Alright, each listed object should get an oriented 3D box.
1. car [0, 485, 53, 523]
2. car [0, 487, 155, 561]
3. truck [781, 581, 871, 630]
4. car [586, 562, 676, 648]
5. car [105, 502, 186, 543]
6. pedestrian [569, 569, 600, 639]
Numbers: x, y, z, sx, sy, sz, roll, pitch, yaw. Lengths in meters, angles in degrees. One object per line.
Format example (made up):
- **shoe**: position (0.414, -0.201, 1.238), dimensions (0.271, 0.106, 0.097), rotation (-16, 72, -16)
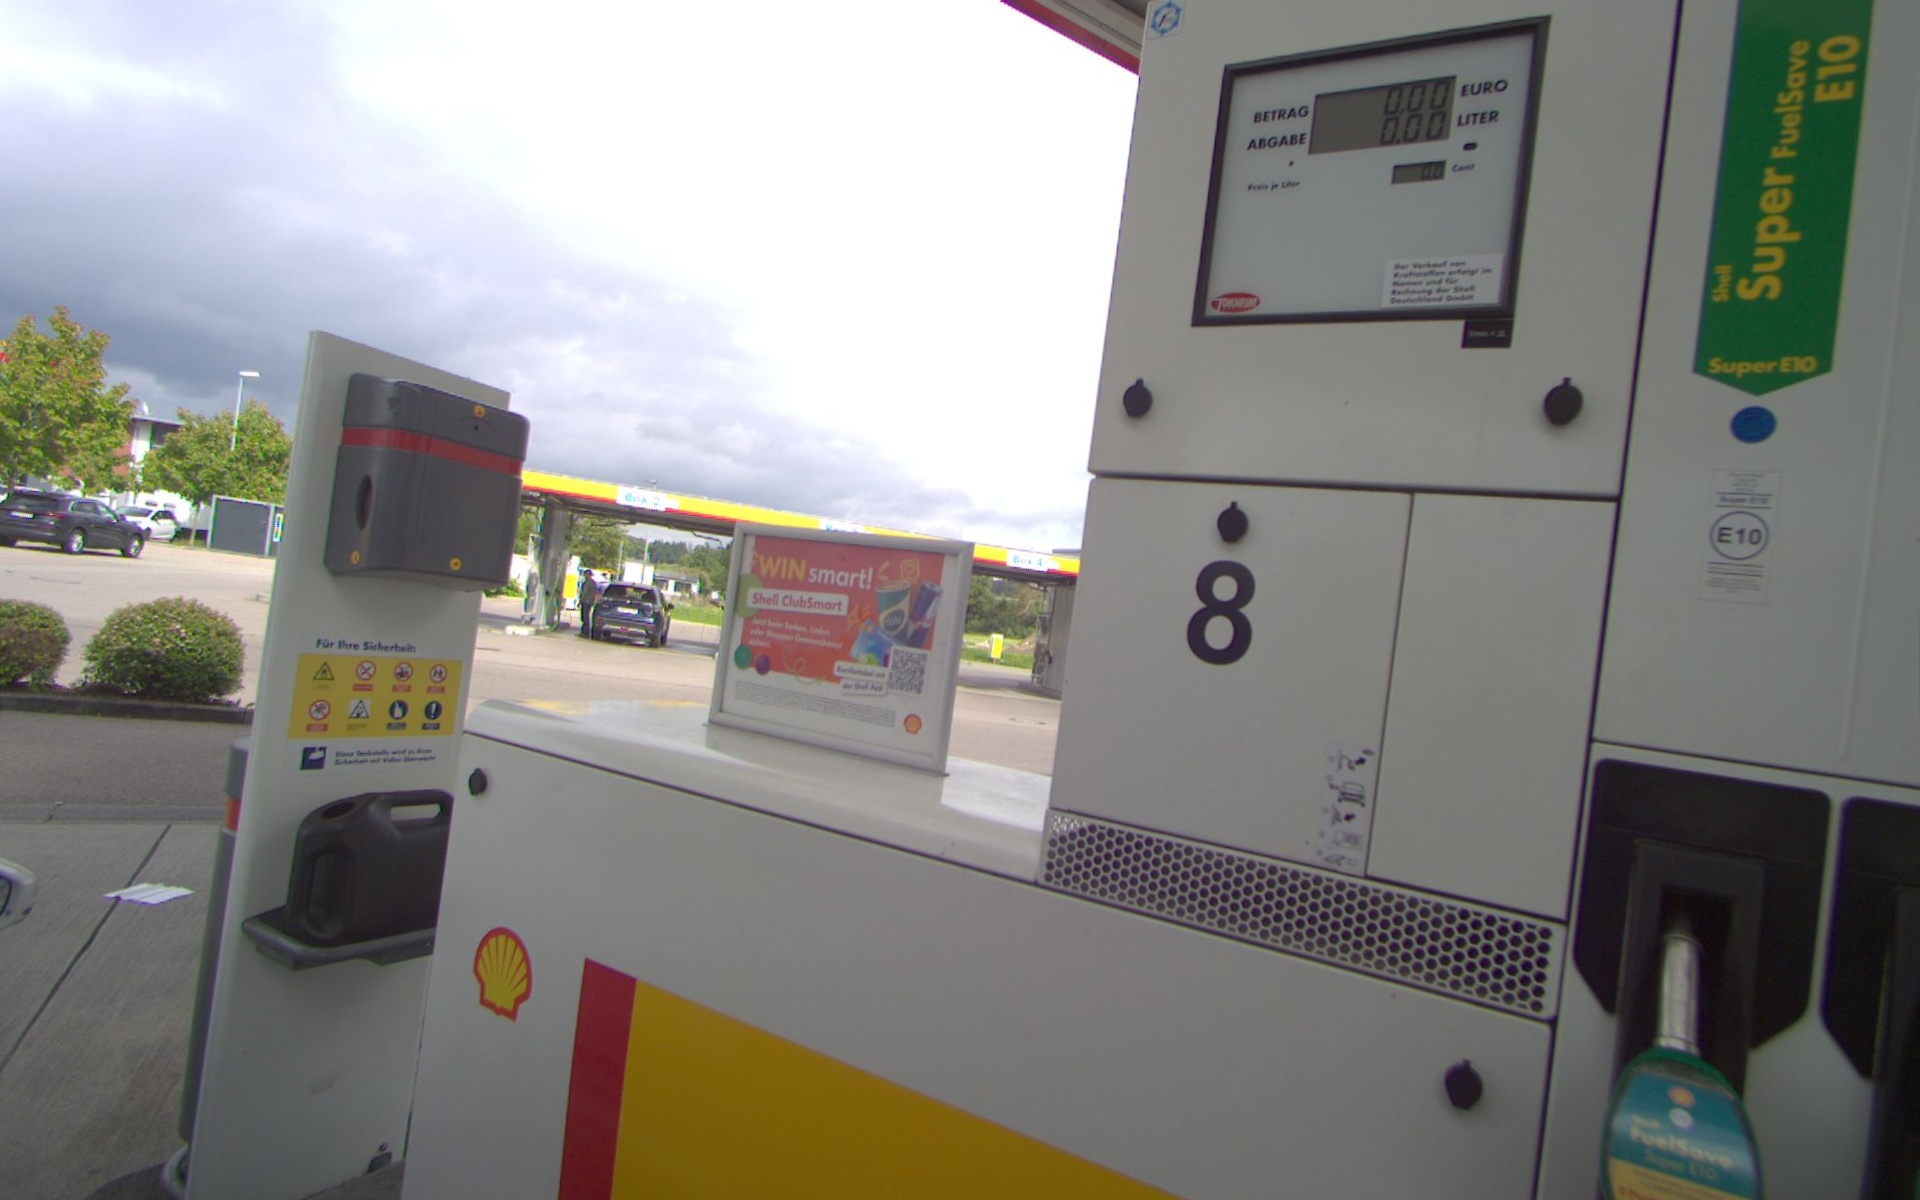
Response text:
- **car**: position (-57.352, -5.899, 60.217), dimensions (2.149, 1.854, 4.870), rotation (8, -2, -11)
- **car**: position (-25.916, -2.164, 29.241), dimensions (1.855, 1.566, 4.498), rotation (8, -2, -10)
- **truck**: position (-13.013, 0.556, 97.489), dimensions (7.978, 3.575, 2.687), rotation (8, -2, -19)
- **car**: position (-8.683, 0.152, 26.846), dimensions (1.696, 1.919, 3.800), rotation (8, -2, -12)
- **car**: position (-35.248, -3.336, 43.625), dimensions (1.346, 1.322, 3.098), rotation (8, -2, -12)
- **pedestrian**: position (-9.744, 0.096, 26.123), dimensions (0.550, 1.742, 0.526), rotation (7, -1, -21)
